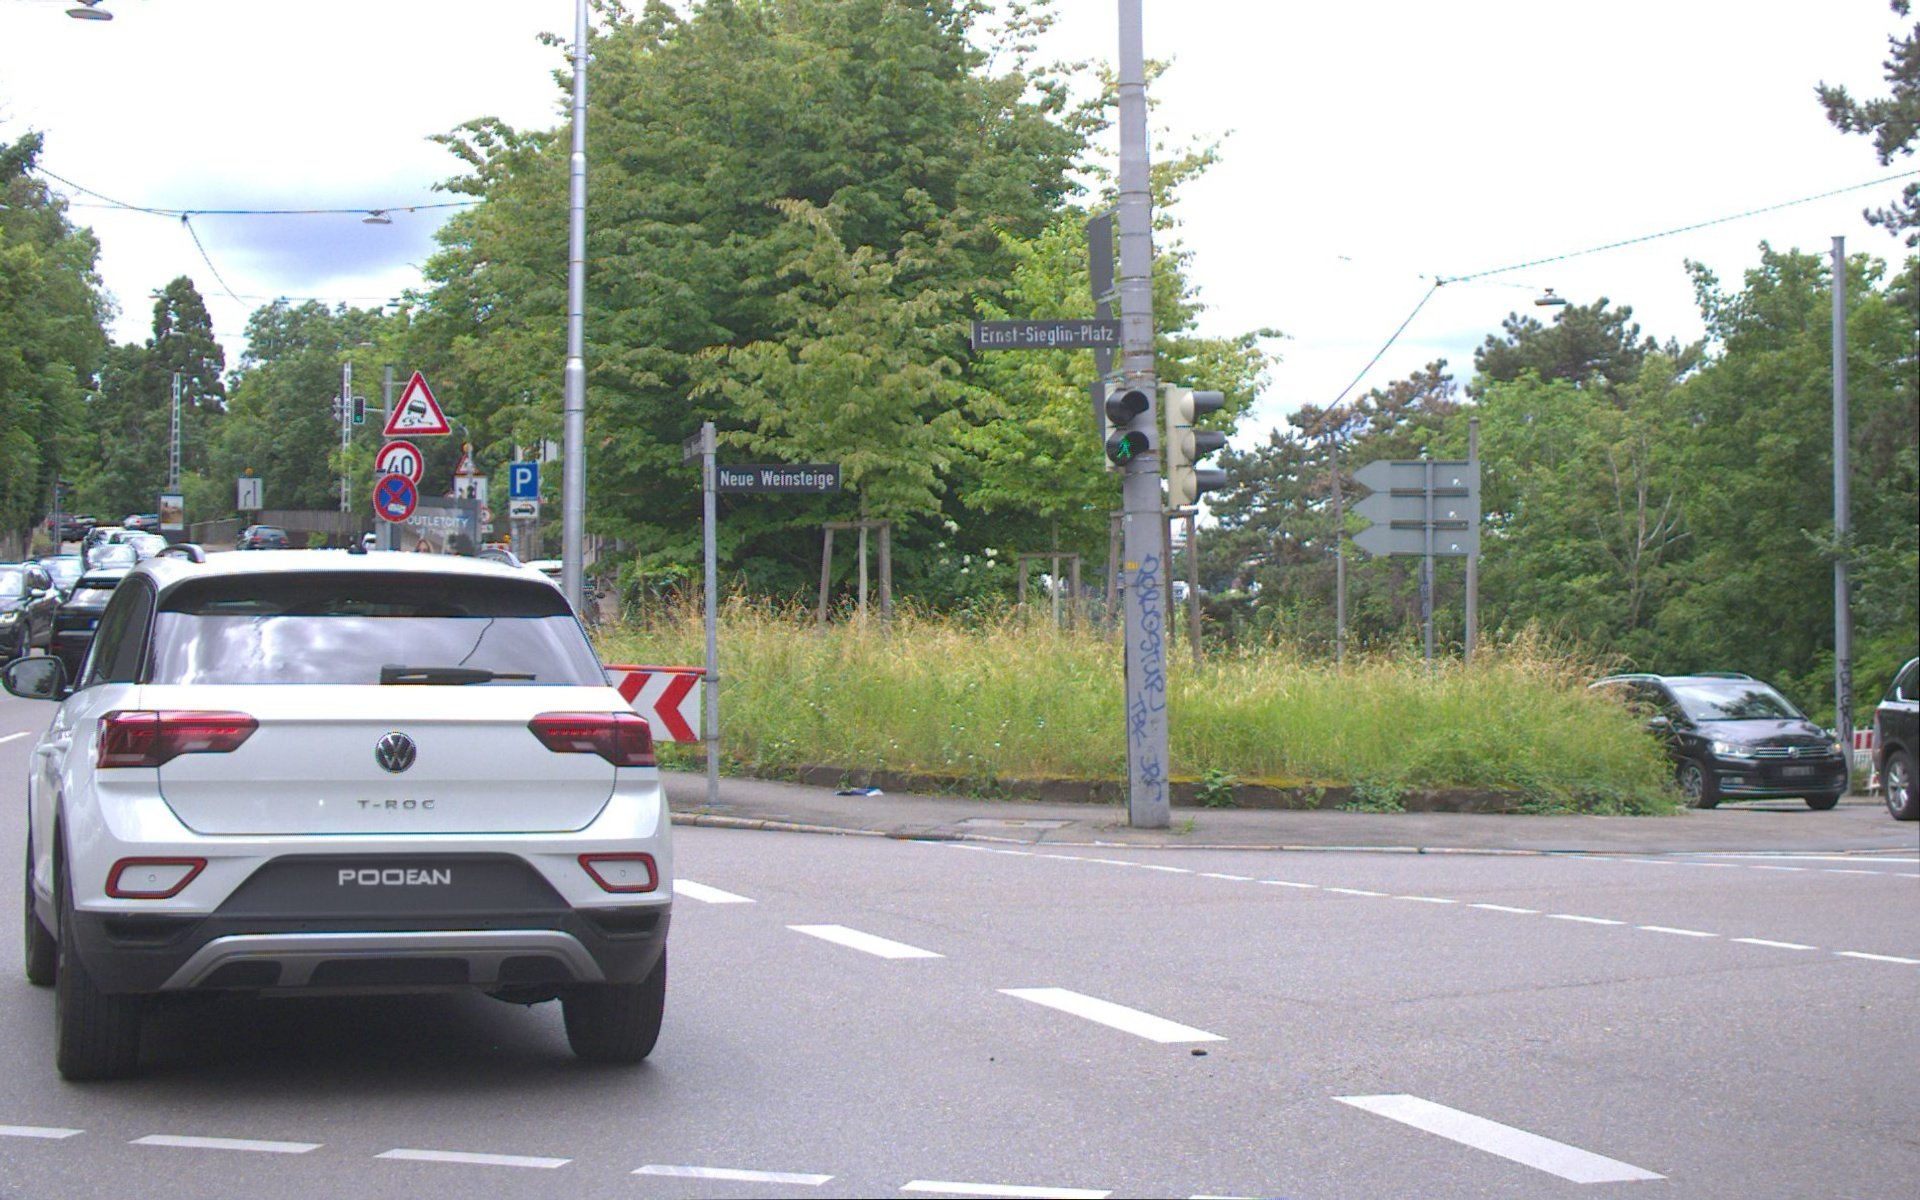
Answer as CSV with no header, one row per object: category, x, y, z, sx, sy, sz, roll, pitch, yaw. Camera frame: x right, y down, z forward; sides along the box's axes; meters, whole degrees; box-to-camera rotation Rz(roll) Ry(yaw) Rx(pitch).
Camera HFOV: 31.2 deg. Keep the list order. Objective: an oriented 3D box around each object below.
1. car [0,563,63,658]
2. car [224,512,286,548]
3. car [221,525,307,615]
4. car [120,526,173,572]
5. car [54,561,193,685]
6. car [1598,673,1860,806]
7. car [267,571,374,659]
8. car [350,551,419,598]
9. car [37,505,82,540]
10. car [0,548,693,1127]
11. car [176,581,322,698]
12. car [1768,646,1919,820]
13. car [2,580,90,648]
car,-16.079,0.137,56.641,1.817,1.435,4.063,1,1,-5
car,-29.346,-2.906,143.037,1.646,1.446,3.547,0,1,-27
car,-14.616,-0.631,72.092,1.633,1.813,4.001,-1,1,-13
car,-26.965,-1.712,113.982,1.646,1.446,3.548,0,2,-13
car,-12.307,0.305,50.739,1.787,1.631,3.738,2,2,-11
car,9.050,1.648,40.776,1.716,1.480,4.000,0,-2,-8
car,-11.129,0.235,60.009,1.684,1.419,3.710,0,1,-8
car,-18.235,-0.807,108.836,1.646,1.446,3.547,0,1,-18
car,-47.502,-4.066,181.282,1.748,1.780,4.001,0,1,-23
car,-2.288,0.611,11.521,1.754,1.547,4.339,0,1,-19
car,-9.398,0.498,45.644,1.628,1.415,3.856,2,0,-8
car,9.935,1.360,35.295,1.813,1.671,4.678,0,-2,-5
car,-21.618,0.340,81.430,1.649,1.512,3.852,2,-1,-10
